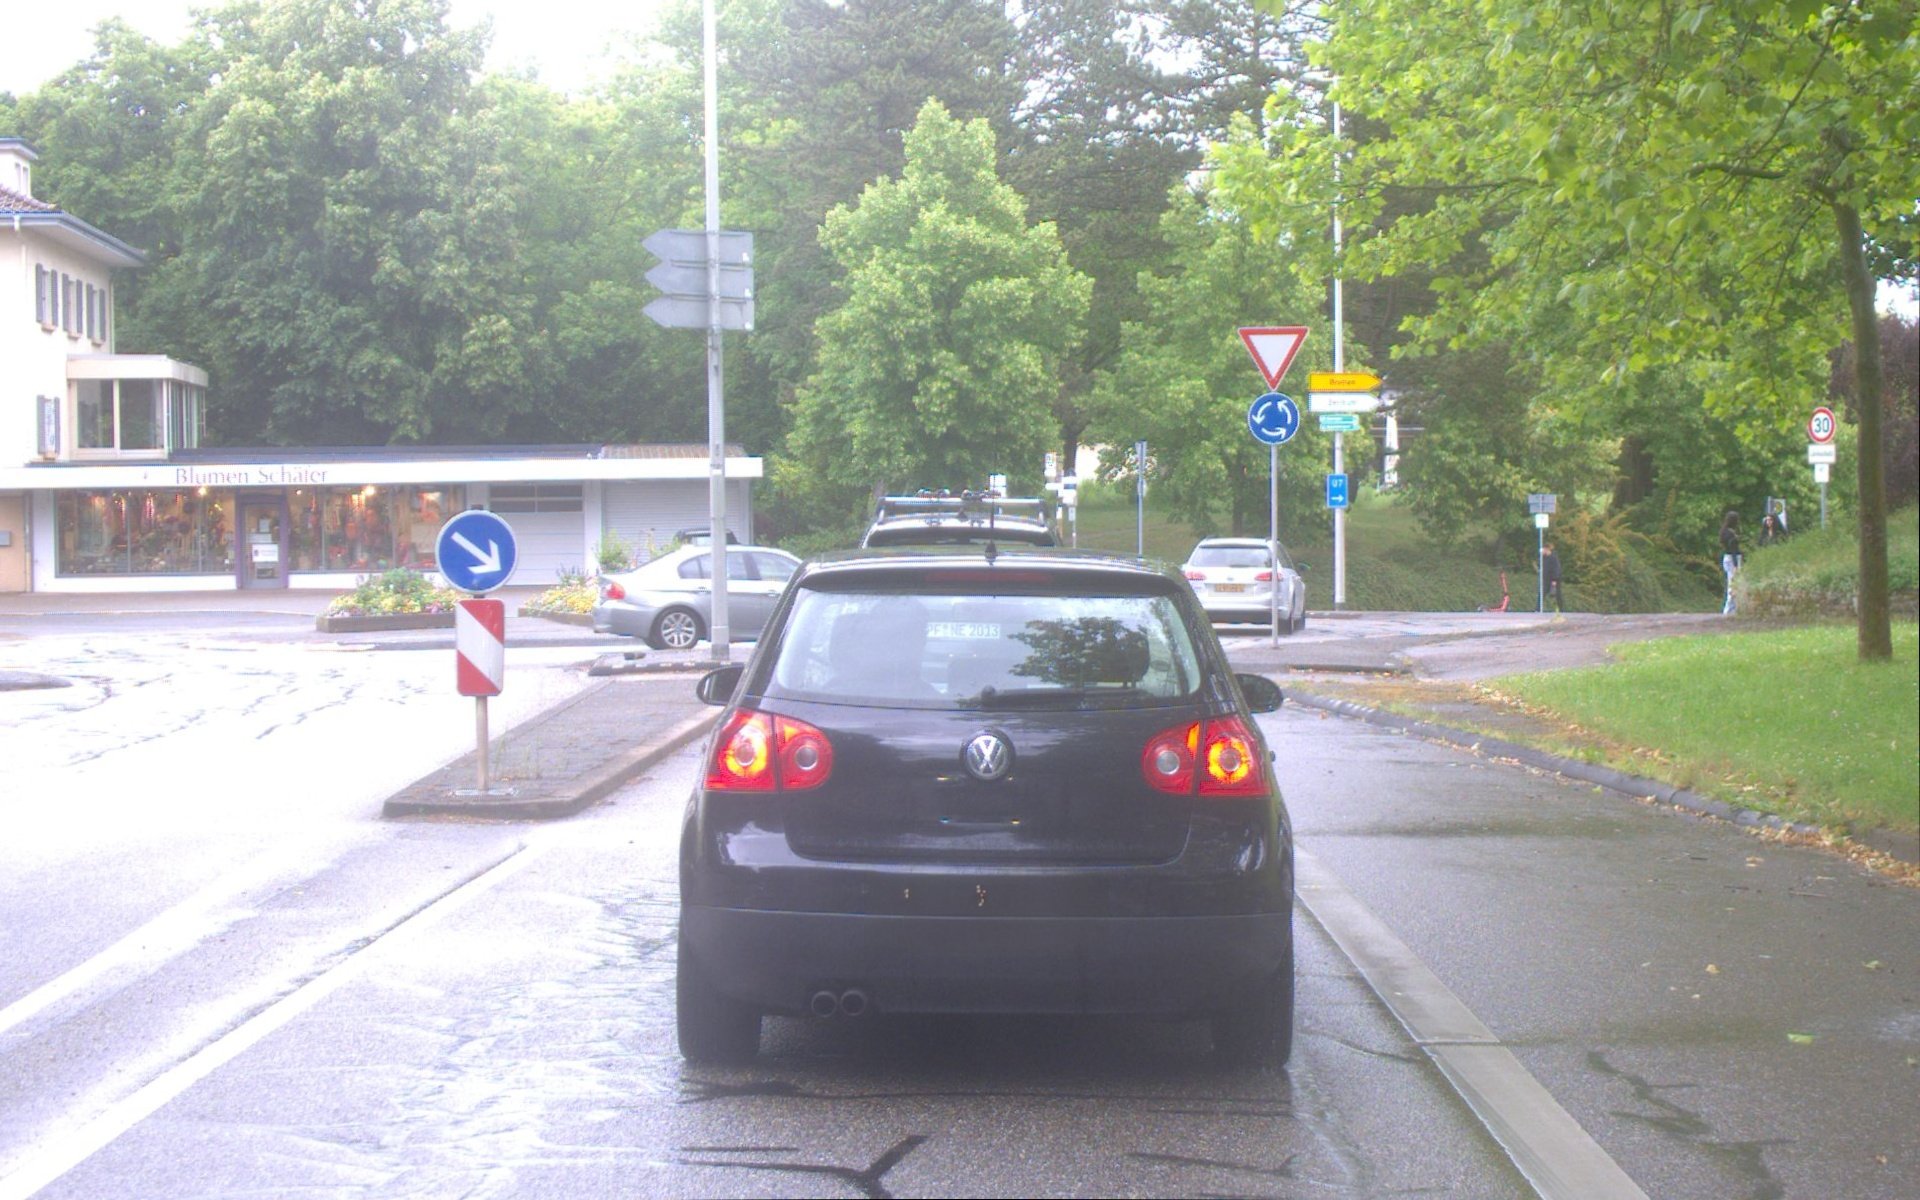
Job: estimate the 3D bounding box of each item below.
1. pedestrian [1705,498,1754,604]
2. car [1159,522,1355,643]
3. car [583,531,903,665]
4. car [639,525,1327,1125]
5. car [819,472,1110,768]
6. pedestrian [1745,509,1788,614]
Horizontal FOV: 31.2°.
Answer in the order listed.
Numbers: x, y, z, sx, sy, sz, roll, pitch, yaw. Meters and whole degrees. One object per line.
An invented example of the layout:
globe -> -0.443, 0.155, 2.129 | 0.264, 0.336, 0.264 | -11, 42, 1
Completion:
pedestrian -> 12.500, -0.795, 55.841 | 0.528, 1.707, 0.636 | 1, 0, -15
car -> 4.570, -0.273, 52.364 | 1.995, 1.735, 4.140 | 1, 1, 19
car -> -2.909, -0.033, 45.554 | 4.018, 1.678, 2.001 | 1, 1, -10
car -> 0.070, 0.547, 10.940 | 1.765, 1.533, 4.000 | 1, 1, 0
car -> -0.034, 0.100, 23.505 | 1.764, 1.795, 4.246 | -2, 1, -2
pedestrian -> 13.236, -0.632, 56.401 | 0.634, 1.707, 0.529 | 1, 0, 16
